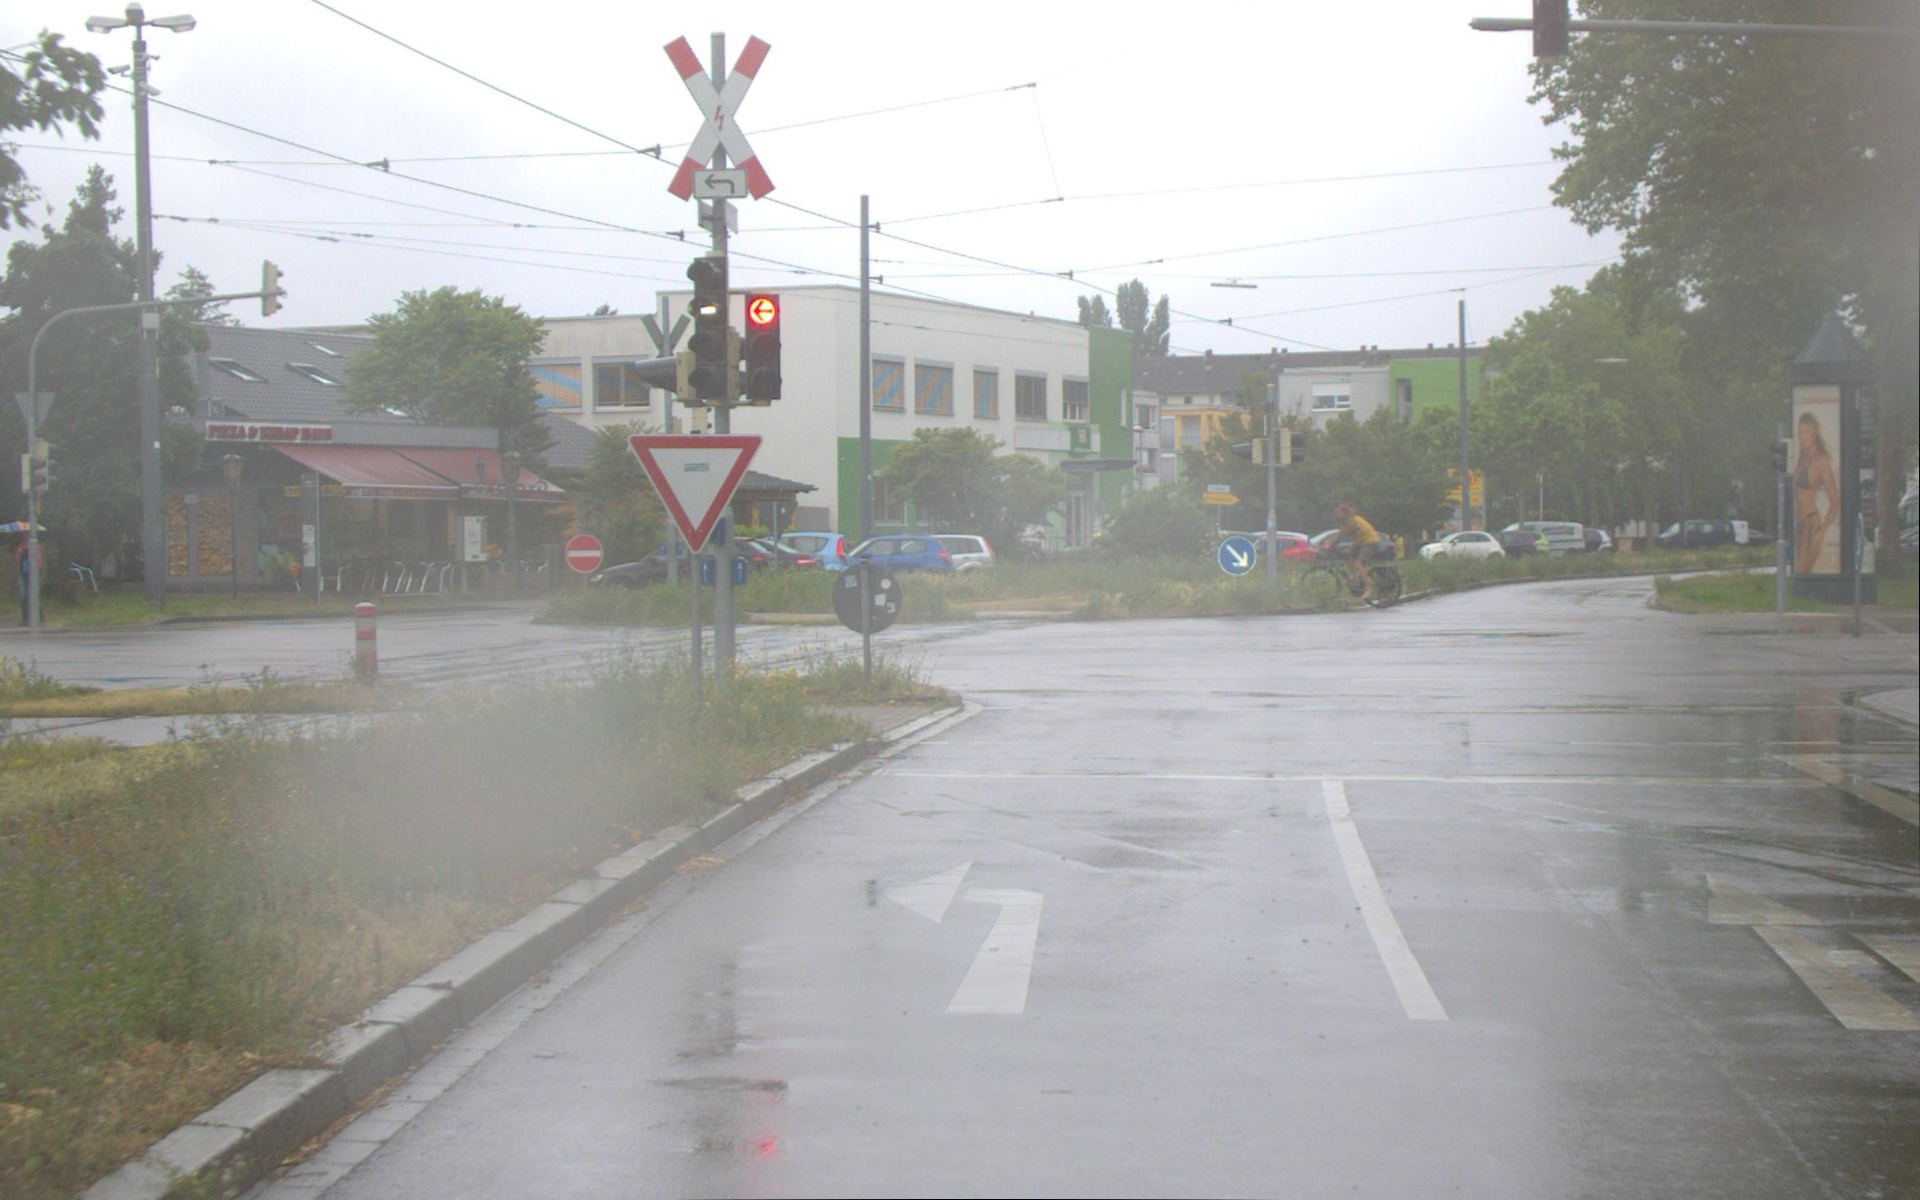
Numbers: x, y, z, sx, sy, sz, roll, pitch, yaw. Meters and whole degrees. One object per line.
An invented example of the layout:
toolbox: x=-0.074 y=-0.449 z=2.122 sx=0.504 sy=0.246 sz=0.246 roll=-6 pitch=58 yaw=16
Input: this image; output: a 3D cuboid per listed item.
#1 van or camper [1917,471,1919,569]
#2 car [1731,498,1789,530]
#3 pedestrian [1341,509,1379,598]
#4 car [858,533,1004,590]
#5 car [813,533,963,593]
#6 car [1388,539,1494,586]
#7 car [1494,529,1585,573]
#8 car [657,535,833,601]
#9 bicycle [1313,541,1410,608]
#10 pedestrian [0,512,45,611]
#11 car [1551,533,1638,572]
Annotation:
van or camper: x=29.222 y=-2.154 z=94.696 sx=5.226 sy=2.688 sz=2.241 roll=2 pitch=2 yaw=22
car: x=52.506 y=-5.636 z=225.674 sx=3.447 sy=2.007 sz=1.806 roll=-1 pitch=1 yaw=20
pedestrian: x=6.746 y=-0.785 z=57.993 sx=0.576 sy=1.470 sz=0.500 roll=-1 pitch=1 yaw=1
car: x=-0.786 y=-1.017 z=90.552 sx=3.750 sy=1.437 sz=1.763 roll=-1 pitch=1 yaw=-2
car: x=-1.852 y=-0.940 z=87.335 sx=3.750 sy=1.437 sz=1.763 roll=-1 pitch=1 yaw=-2
car: x=19.928 y=-1.557 z=142.511 sx=4.135 sy=1.853 sz=1.673 roll=-1 pitch=1 yaw=-1
car: x=26.953 y=-2.287 z=159.918 sx=4.137 sy=1.969 sz=1.673 roll=-1 pitch=1 yaw=10
car: x=-4.929 y=-0.740 z=79.124 sx=3.751 sy=1.437 sz=1.762 roll=-1 pitch=1 yaw=7
bicycle: x=6.773 y=-0.432 z=57.991 sx=1.561 sy=1.098 sz=0.500 roll=-1 pitch=1 yaw=1
pedestrian: x=-16.971 y=-0.690 z=61.550 sx=0.801 sy=1.757 sz=0.908 roll=-2 pitch=1 yaw=-41
car: x=31.143 y=-2.338 z=168.864 sx=4.137 sy=1.853 sz=1.673 roll=-1 pitch=1 yaw=10
